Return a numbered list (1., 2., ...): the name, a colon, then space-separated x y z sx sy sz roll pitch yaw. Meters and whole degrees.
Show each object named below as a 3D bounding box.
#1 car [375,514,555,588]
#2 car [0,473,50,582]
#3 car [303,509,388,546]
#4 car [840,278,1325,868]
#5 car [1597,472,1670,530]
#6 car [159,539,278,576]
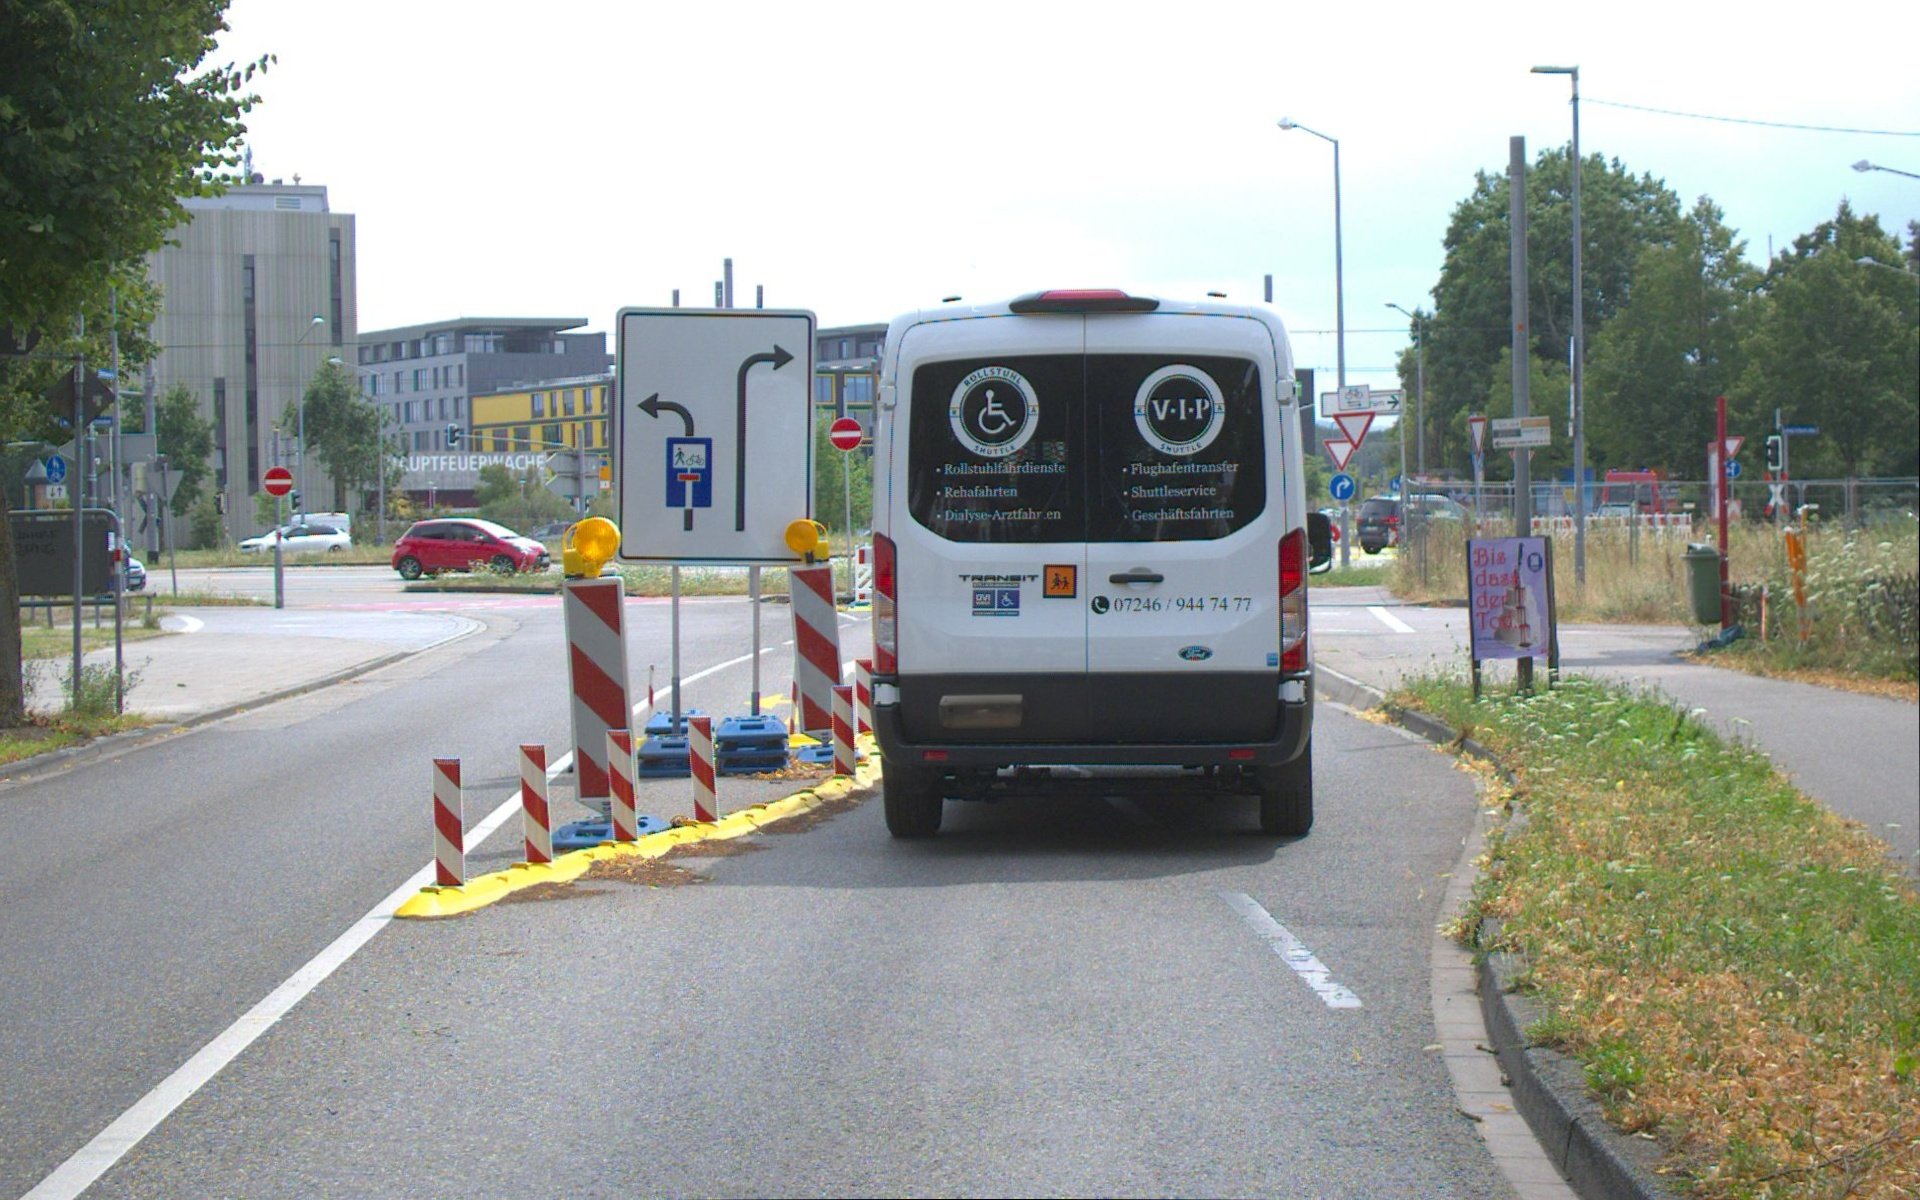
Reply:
1. car: -12.381 -1.240 86.123 3.989 1.656 1.890 -2 2 13
2. car: -27.199 -1.886 93.115 2.612 2.841 5.673 -4 2 -40
3. car: -31.087 -3.666 173.978 3.986 1.656 1.891 -3 2 -16
4. car: 0.695 -0.163 16.937 2.063 2.531 4.000 -1 1 5
5. car: 22.581 -3.331 115.157 2.008 1.810 4.409 -2 2 16
6. car: -27.872 -1.610 129.286 3.987 1.188 1.686 -4 2 -32
